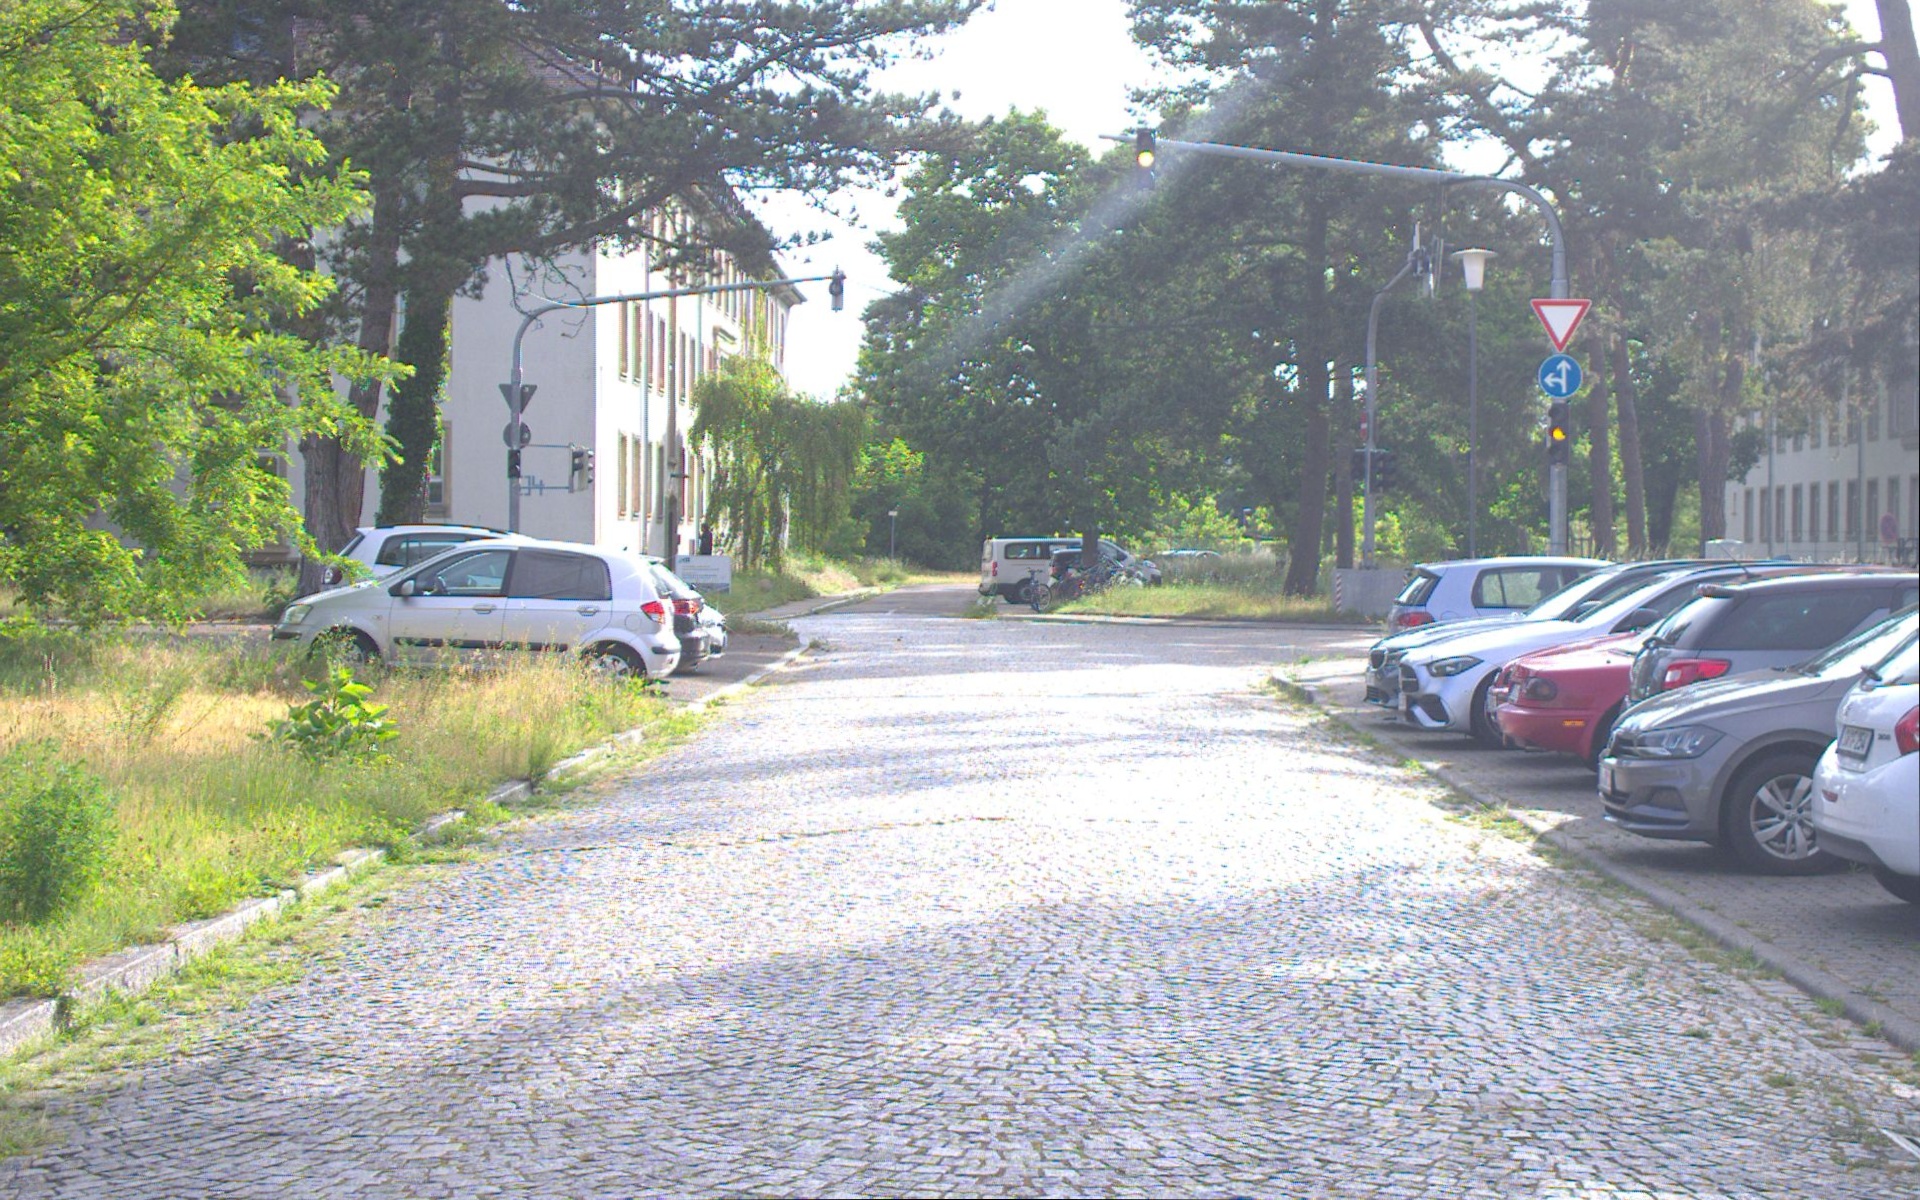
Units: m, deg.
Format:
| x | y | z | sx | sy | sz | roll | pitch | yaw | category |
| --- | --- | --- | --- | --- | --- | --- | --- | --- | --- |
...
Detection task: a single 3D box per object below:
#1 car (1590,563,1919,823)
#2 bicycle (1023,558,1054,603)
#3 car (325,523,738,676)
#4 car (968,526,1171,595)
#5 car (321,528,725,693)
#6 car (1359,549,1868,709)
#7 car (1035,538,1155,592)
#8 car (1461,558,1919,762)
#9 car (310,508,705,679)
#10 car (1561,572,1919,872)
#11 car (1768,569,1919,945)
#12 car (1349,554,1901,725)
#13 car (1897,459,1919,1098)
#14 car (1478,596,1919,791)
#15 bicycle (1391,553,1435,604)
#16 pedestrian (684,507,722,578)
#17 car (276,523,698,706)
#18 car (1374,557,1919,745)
| x | y | z | sx | sy | sz | roll | pitch | yaw | category |
| --- | --- | --- | --- | --- | --- | --- | --- | --- | --- |
| 5.897 | 0.525 | 20.577 | 3.951 | 1.490 | 1.772 | 0 | 0 | 1 | car |
| 1.843 | -0.463 | 80.861 | 0.728 | 0.995 | 1.799 | 0 | 2 | 1 | bicycle |
| -4.991 | -0.027 | 40.514 | 4.587 | 1.450 | 1.903 | 3 | 2 | -1 | car |
| 3.178 | -1.140 | 100.356 | 5.499 | 1.909 | 2.255 | 1 | 0 | -13 | car |
| -4.425 | 0.094 | 35.264 | 3.828 | 1.424 | 1.859 | 3 | 0 | 0 | car |
| 6.253 | 0.267 | 33.262 | 4.543 | 1.500 | 1.933 | 0 | 0 | -1 | car |
| 3.797 | -0.977 | 96.777 | 3.031 | 1.460 | 1.720 | 1 | 0 | -11 | car |
| 6.021 | 0.425 | 25.592 | 4.341 | 1.468 | 1.740 | 0 | 0 | 1 | car |
| -4.933 | -0.076 | 37.969 | 4.121 | 1.594 | 1.859 | 3 | 0 | -3 | car |
| 5.214 | 0.588 | 17.669 | 3.951 | 1.462 | 1.830 | 0 | 0 | 1 | car |
| 5.617 | 0.628 | 14.802 | 3.874 | 1.525 | 1.808 | 0 | 0 | 1 | car |
| 5.864 | 0.333 | 30.645 | 4.506 | 1.468 | 1.895 | 0 | 0 | -3 | car |
| 5.234 | 0.495 | 9.455 | 4.733 | 1.922 | 1.992 | -1 | 0 | 0 | car |
| 5.594 | 0.606 | 23.225 | 3.951 | 1.256 | 1.726 | 0 | 0 | 1 | car |
| 9.240 | -0.447 | 70.111 | 0.562 | 0.995 | 1.752 | 0 | 2 | -3 | bicycle |
| -7.247 | -1.618 | 96.995 | 0.985 | 1.956 | 0.933 | 1 | 0 | 0 | pedestrian |
| -4.425 | 0.124 | 32.608 | 3.683 | 1.468 | 1.850 | 3 | 0 | -1 | car |
| 5.715 | 0.393 | 27.869 | 4.506 | 1.468 | 1.849 | 0 | 0 | 1 | car |
